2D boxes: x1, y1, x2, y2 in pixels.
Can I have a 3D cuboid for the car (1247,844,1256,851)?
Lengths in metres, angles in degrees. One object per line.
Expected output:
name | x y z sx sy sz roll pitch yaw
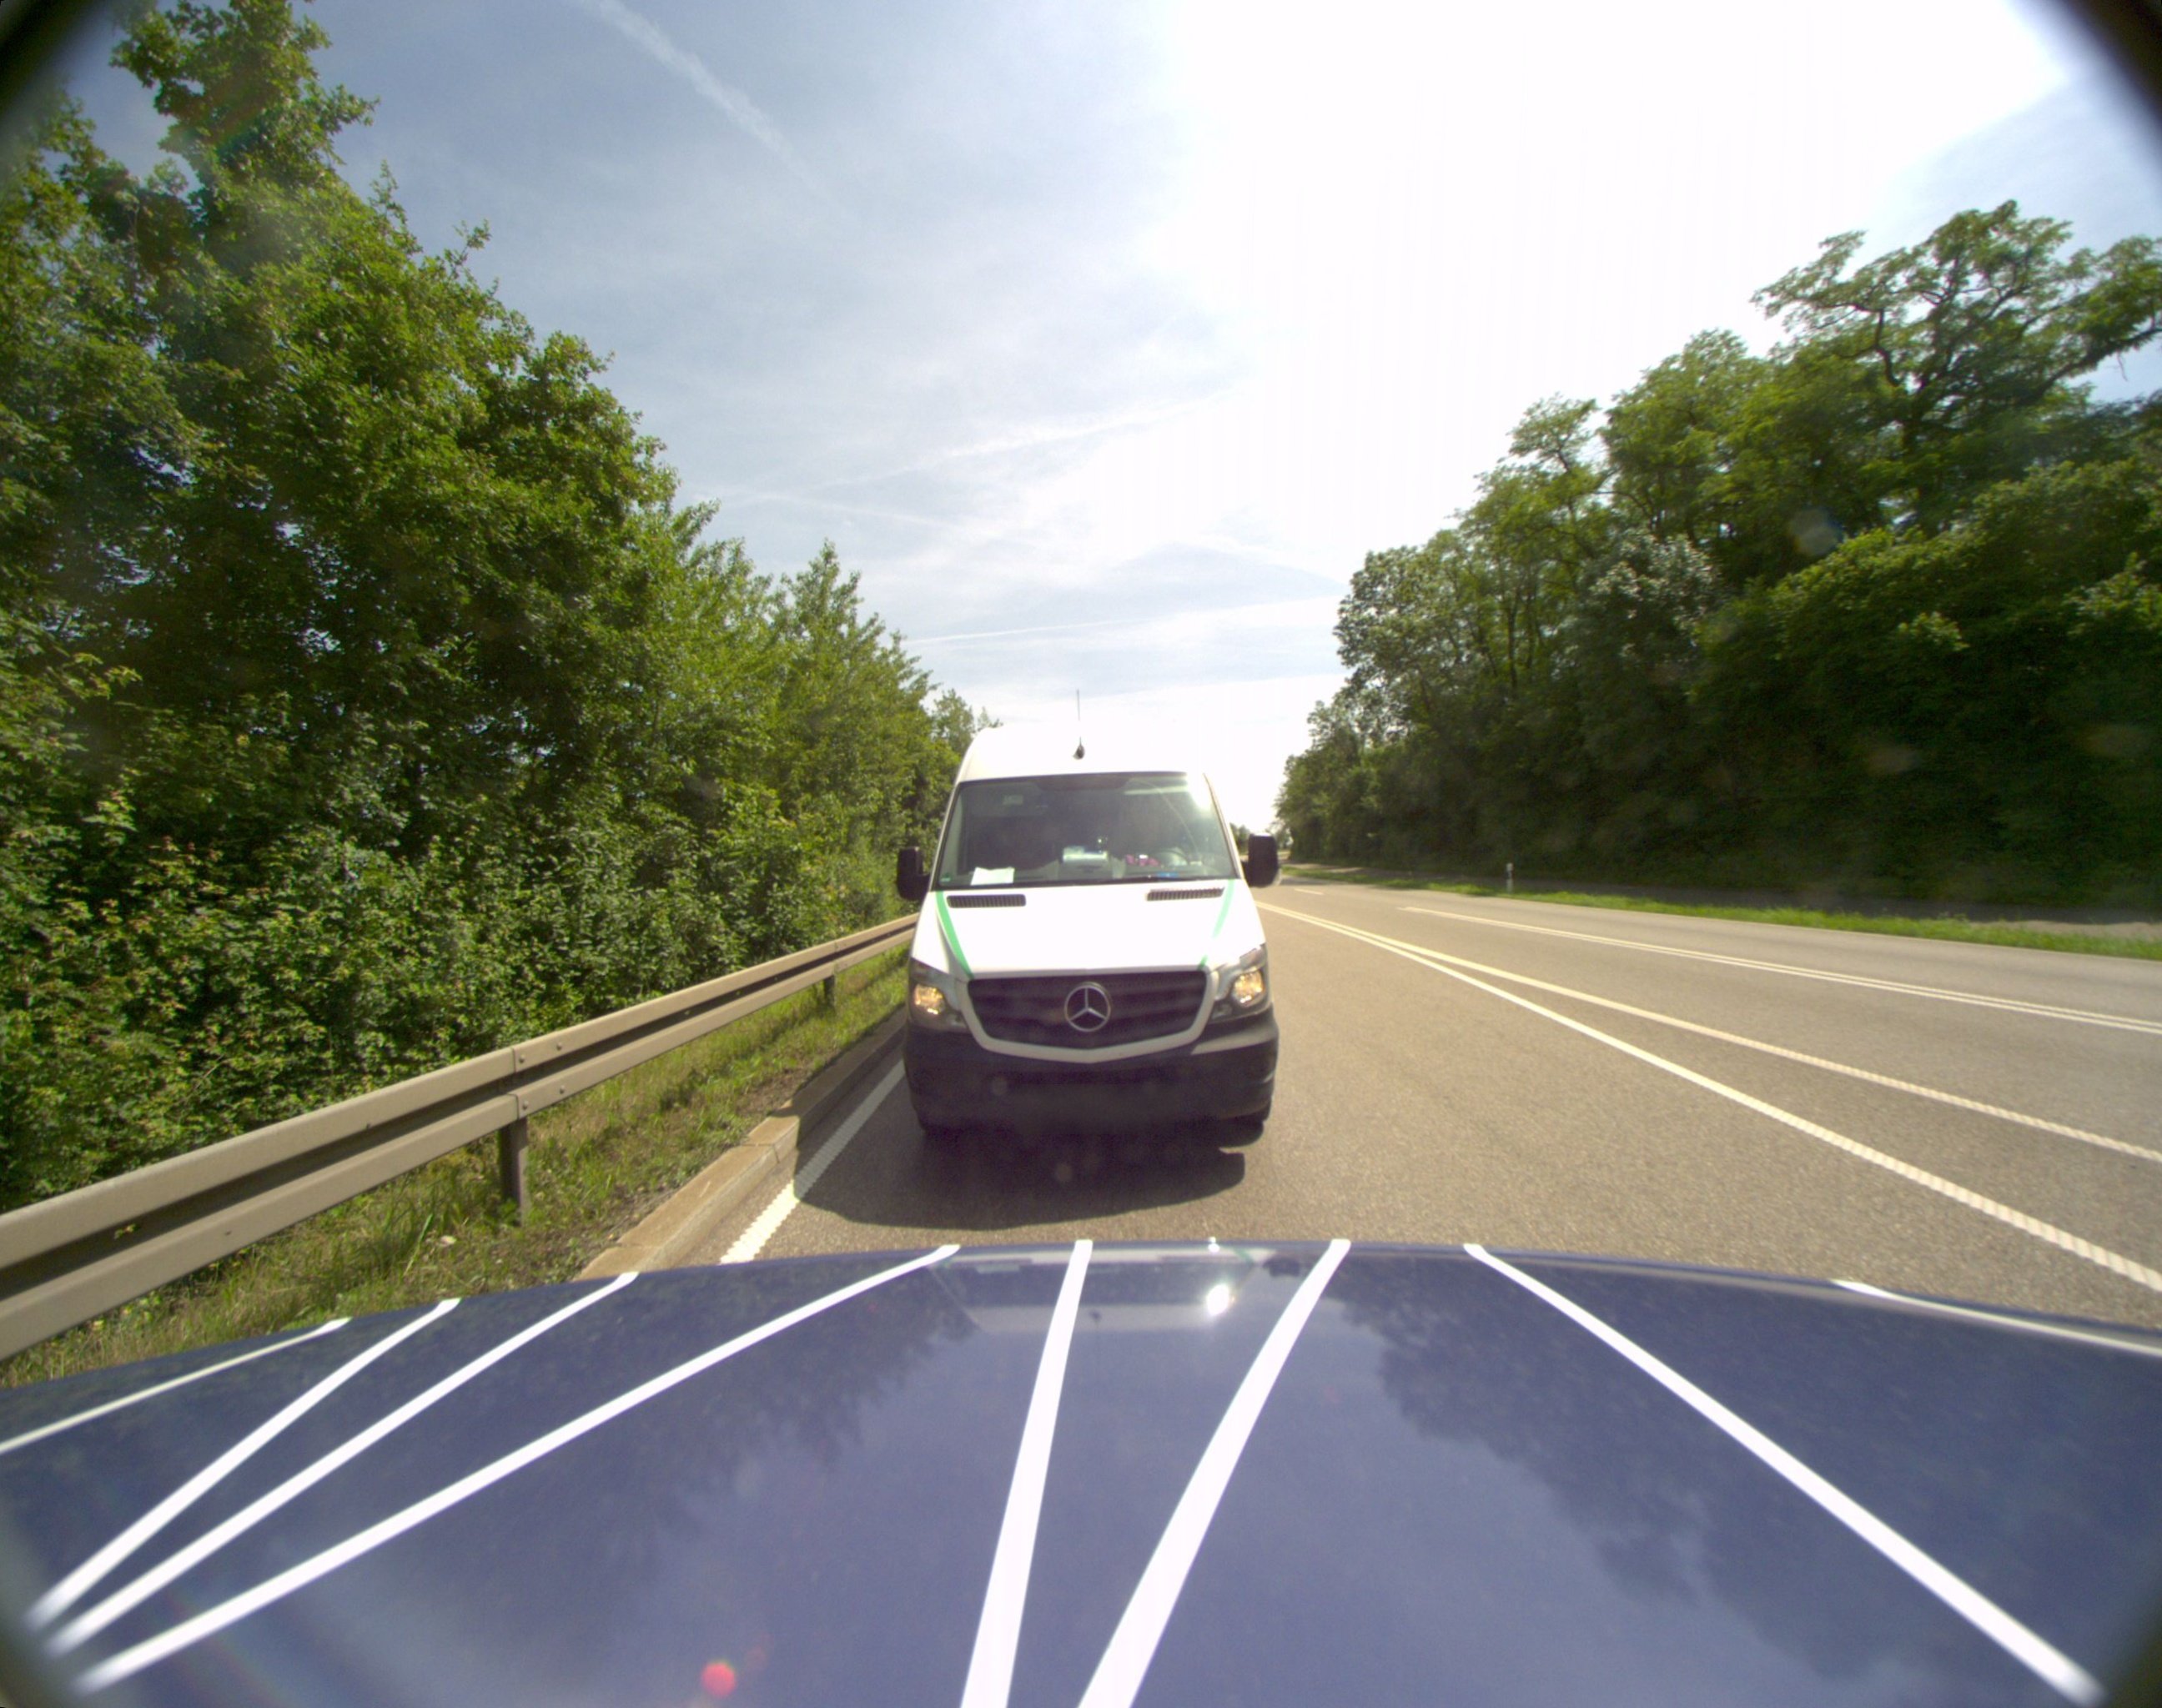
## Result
car | 49.863 -1.966 221.822 1.853 2.002 3.894 -2 1 24

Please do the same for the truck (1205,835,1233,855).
truck | 34.172 -2.247 187.204 3.980 4.433 14.361 -2 0 21

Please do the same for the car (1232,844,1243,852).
car | 42.433 -1.683 206.488 1.915 2.002 4.182 -1 1 25

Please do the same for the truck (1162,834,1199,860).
truck | 18.750 -1.325 141.981 4.392 4.433 14.729 -2 0 17

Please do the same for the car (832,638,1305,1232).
car | 0.026 0.363 5.904 1.958 2.502 5.267 -2 0 2
